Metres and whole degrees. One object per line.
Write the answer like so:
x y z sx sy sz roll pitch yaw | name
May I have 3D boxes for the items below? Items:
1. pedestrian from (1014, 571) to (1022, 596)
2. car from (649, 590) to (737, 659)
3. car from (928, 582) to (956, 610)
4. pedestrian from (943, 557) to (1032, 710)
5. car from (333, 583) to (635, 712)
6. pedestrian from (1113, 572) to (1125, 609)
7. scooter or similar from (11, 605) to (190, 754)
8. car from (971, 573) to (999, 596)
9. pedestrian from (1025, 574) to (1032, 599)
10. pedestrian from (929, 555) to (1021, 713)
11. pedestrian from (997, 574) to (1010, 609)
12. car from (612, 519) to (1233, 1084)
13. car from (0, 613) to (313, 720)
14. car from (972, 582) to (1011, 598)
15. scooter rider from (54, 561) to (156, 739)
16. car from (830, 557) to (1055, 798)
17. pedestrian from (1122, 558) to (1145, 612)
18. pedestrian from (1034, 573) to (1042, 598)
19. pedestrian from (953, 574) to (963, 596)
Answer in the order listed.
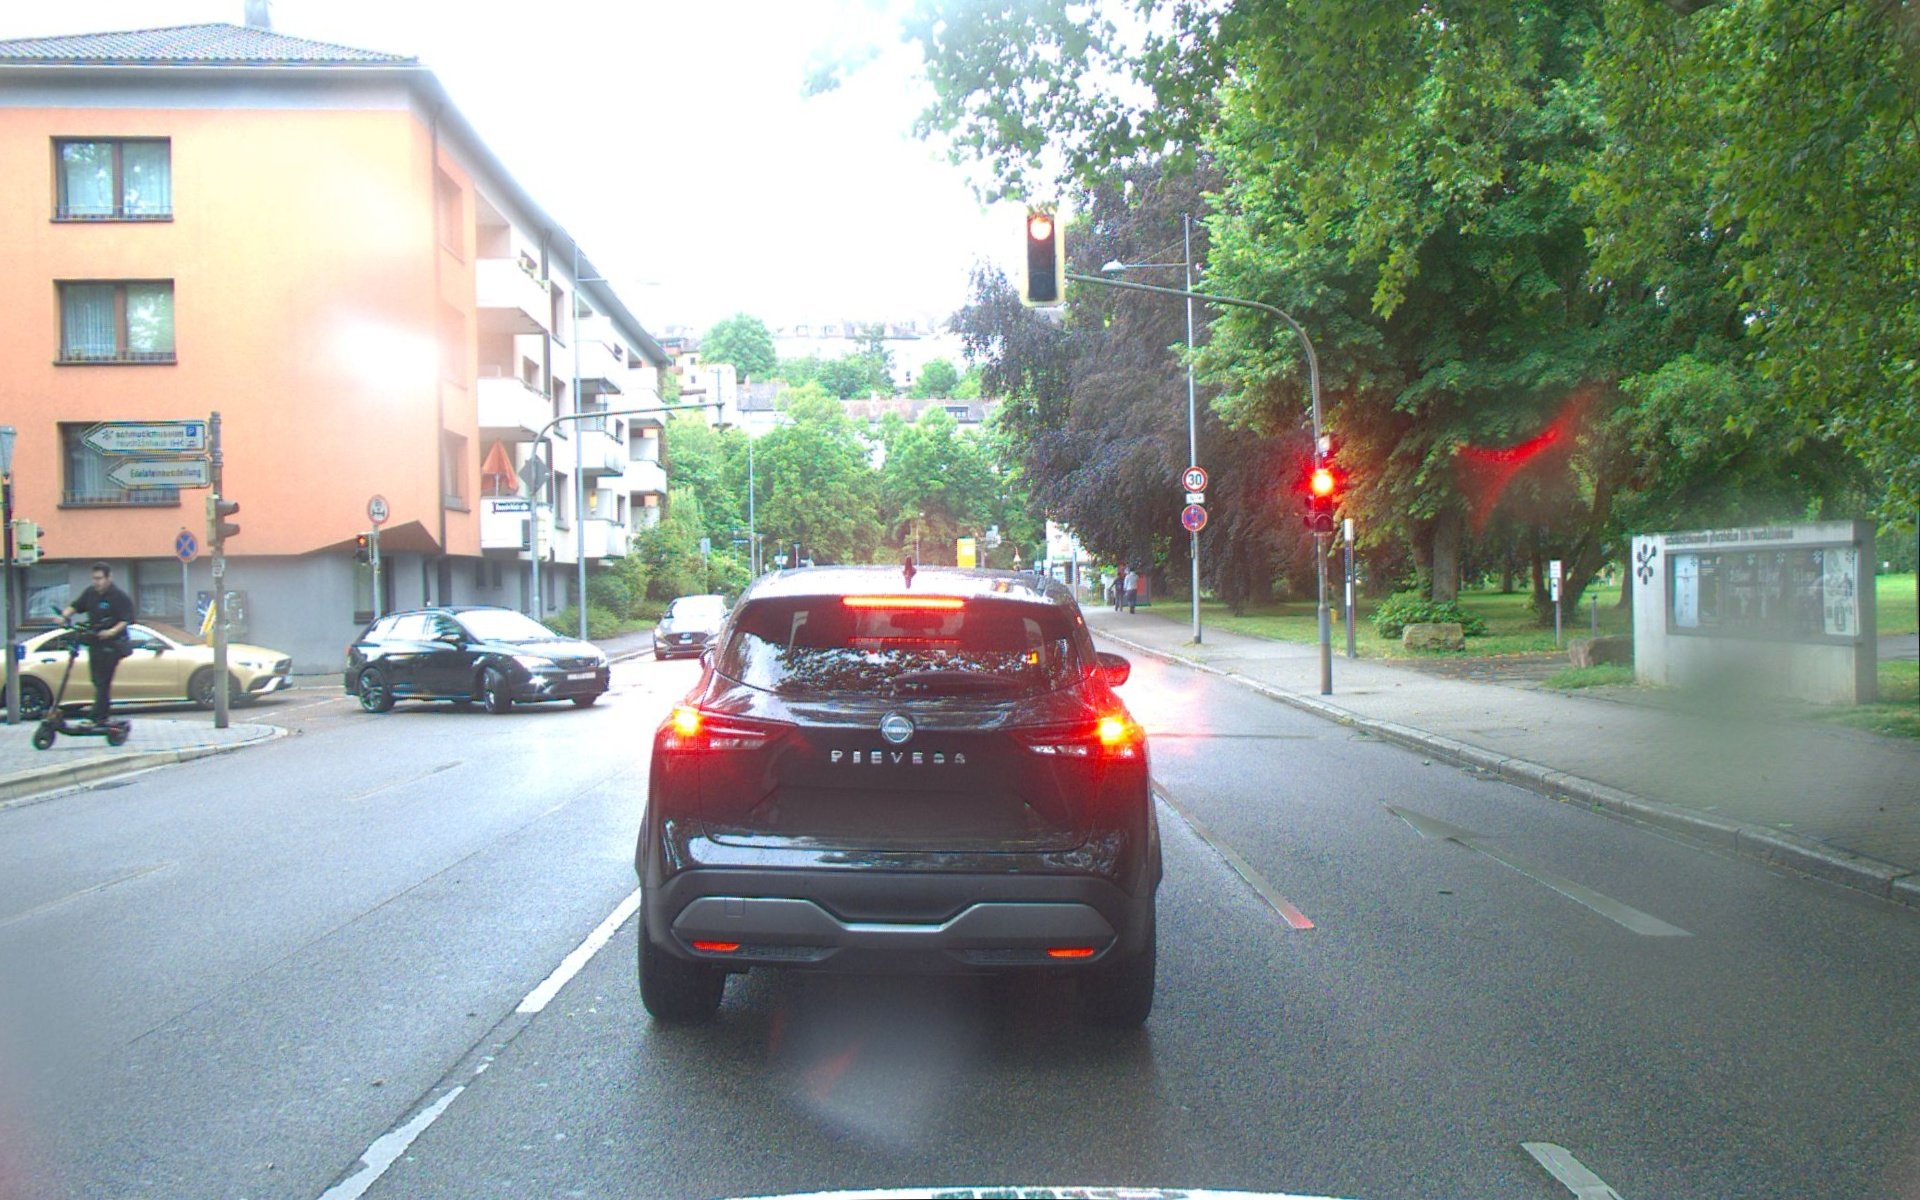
4.418 -1.237 125.500 0.498 1.833 0.619 -2 0 -1 | pedestrian
-6.542 0.572 40.819 1.760 1.560 3.864 -2 0 -4 | car
-1.072 -0.265 98.654 1.601 1.559 3.967 -2 1 -1 | car
0.349 0.411 21.103 1.017 1.909 0.656 0 0 -11 | pedestrian
-6.752 0.664 23.376 4.049 1.654 1.847 -2 0 32 | car
6.537 -0.391 68.044 0.382 1.528 0.559 -2 0 -1 | pedestrian
-8.919 0.825 17.211 0.798 1.471 1.397 0 -3 26 | scooter or similar
2.007 -1.235 132.572 1.952 1.765 4.002 1 0 4 | car
5.162 -1.037 124.778 0.498 1.833 0.659 -2 0 -1 | pedestrian
0.183 0.407 20.349 1.017 1.909 0.656 0 0 -11 | pedestrian
2.287 -0.432 87.118 0.500 1.833 0.617 -2 0 -17 | pedestrian
-0.134 0.600 7.022 1.874 1.709 3.999 0 0 -1 | car
-12.841 1.014 26.077 4.549 1.428 1.828 -2 0 -9 | car
3.336 -1.106 176.046 3.892 1.559 1.632 -2 0 -17 | car
-8.892 0.514 17.204 0.718 1.797 0.645 -1 -1 26 | scooter rider
-0.157 0.575 14.426 1.664 1.776 3.640 -2 0 -1 | car
6.672 -0.587 63.585 0.710 2.049 0.851 -2 0 -1 | pedestrian
5.922 -1.078 124.898 0.498 1.833 0.619 -2 0 -2 | pedestrian
-0.175 -1.225 135.203 0.498 1.702 0.658 -2 0 27 | pedestrian
